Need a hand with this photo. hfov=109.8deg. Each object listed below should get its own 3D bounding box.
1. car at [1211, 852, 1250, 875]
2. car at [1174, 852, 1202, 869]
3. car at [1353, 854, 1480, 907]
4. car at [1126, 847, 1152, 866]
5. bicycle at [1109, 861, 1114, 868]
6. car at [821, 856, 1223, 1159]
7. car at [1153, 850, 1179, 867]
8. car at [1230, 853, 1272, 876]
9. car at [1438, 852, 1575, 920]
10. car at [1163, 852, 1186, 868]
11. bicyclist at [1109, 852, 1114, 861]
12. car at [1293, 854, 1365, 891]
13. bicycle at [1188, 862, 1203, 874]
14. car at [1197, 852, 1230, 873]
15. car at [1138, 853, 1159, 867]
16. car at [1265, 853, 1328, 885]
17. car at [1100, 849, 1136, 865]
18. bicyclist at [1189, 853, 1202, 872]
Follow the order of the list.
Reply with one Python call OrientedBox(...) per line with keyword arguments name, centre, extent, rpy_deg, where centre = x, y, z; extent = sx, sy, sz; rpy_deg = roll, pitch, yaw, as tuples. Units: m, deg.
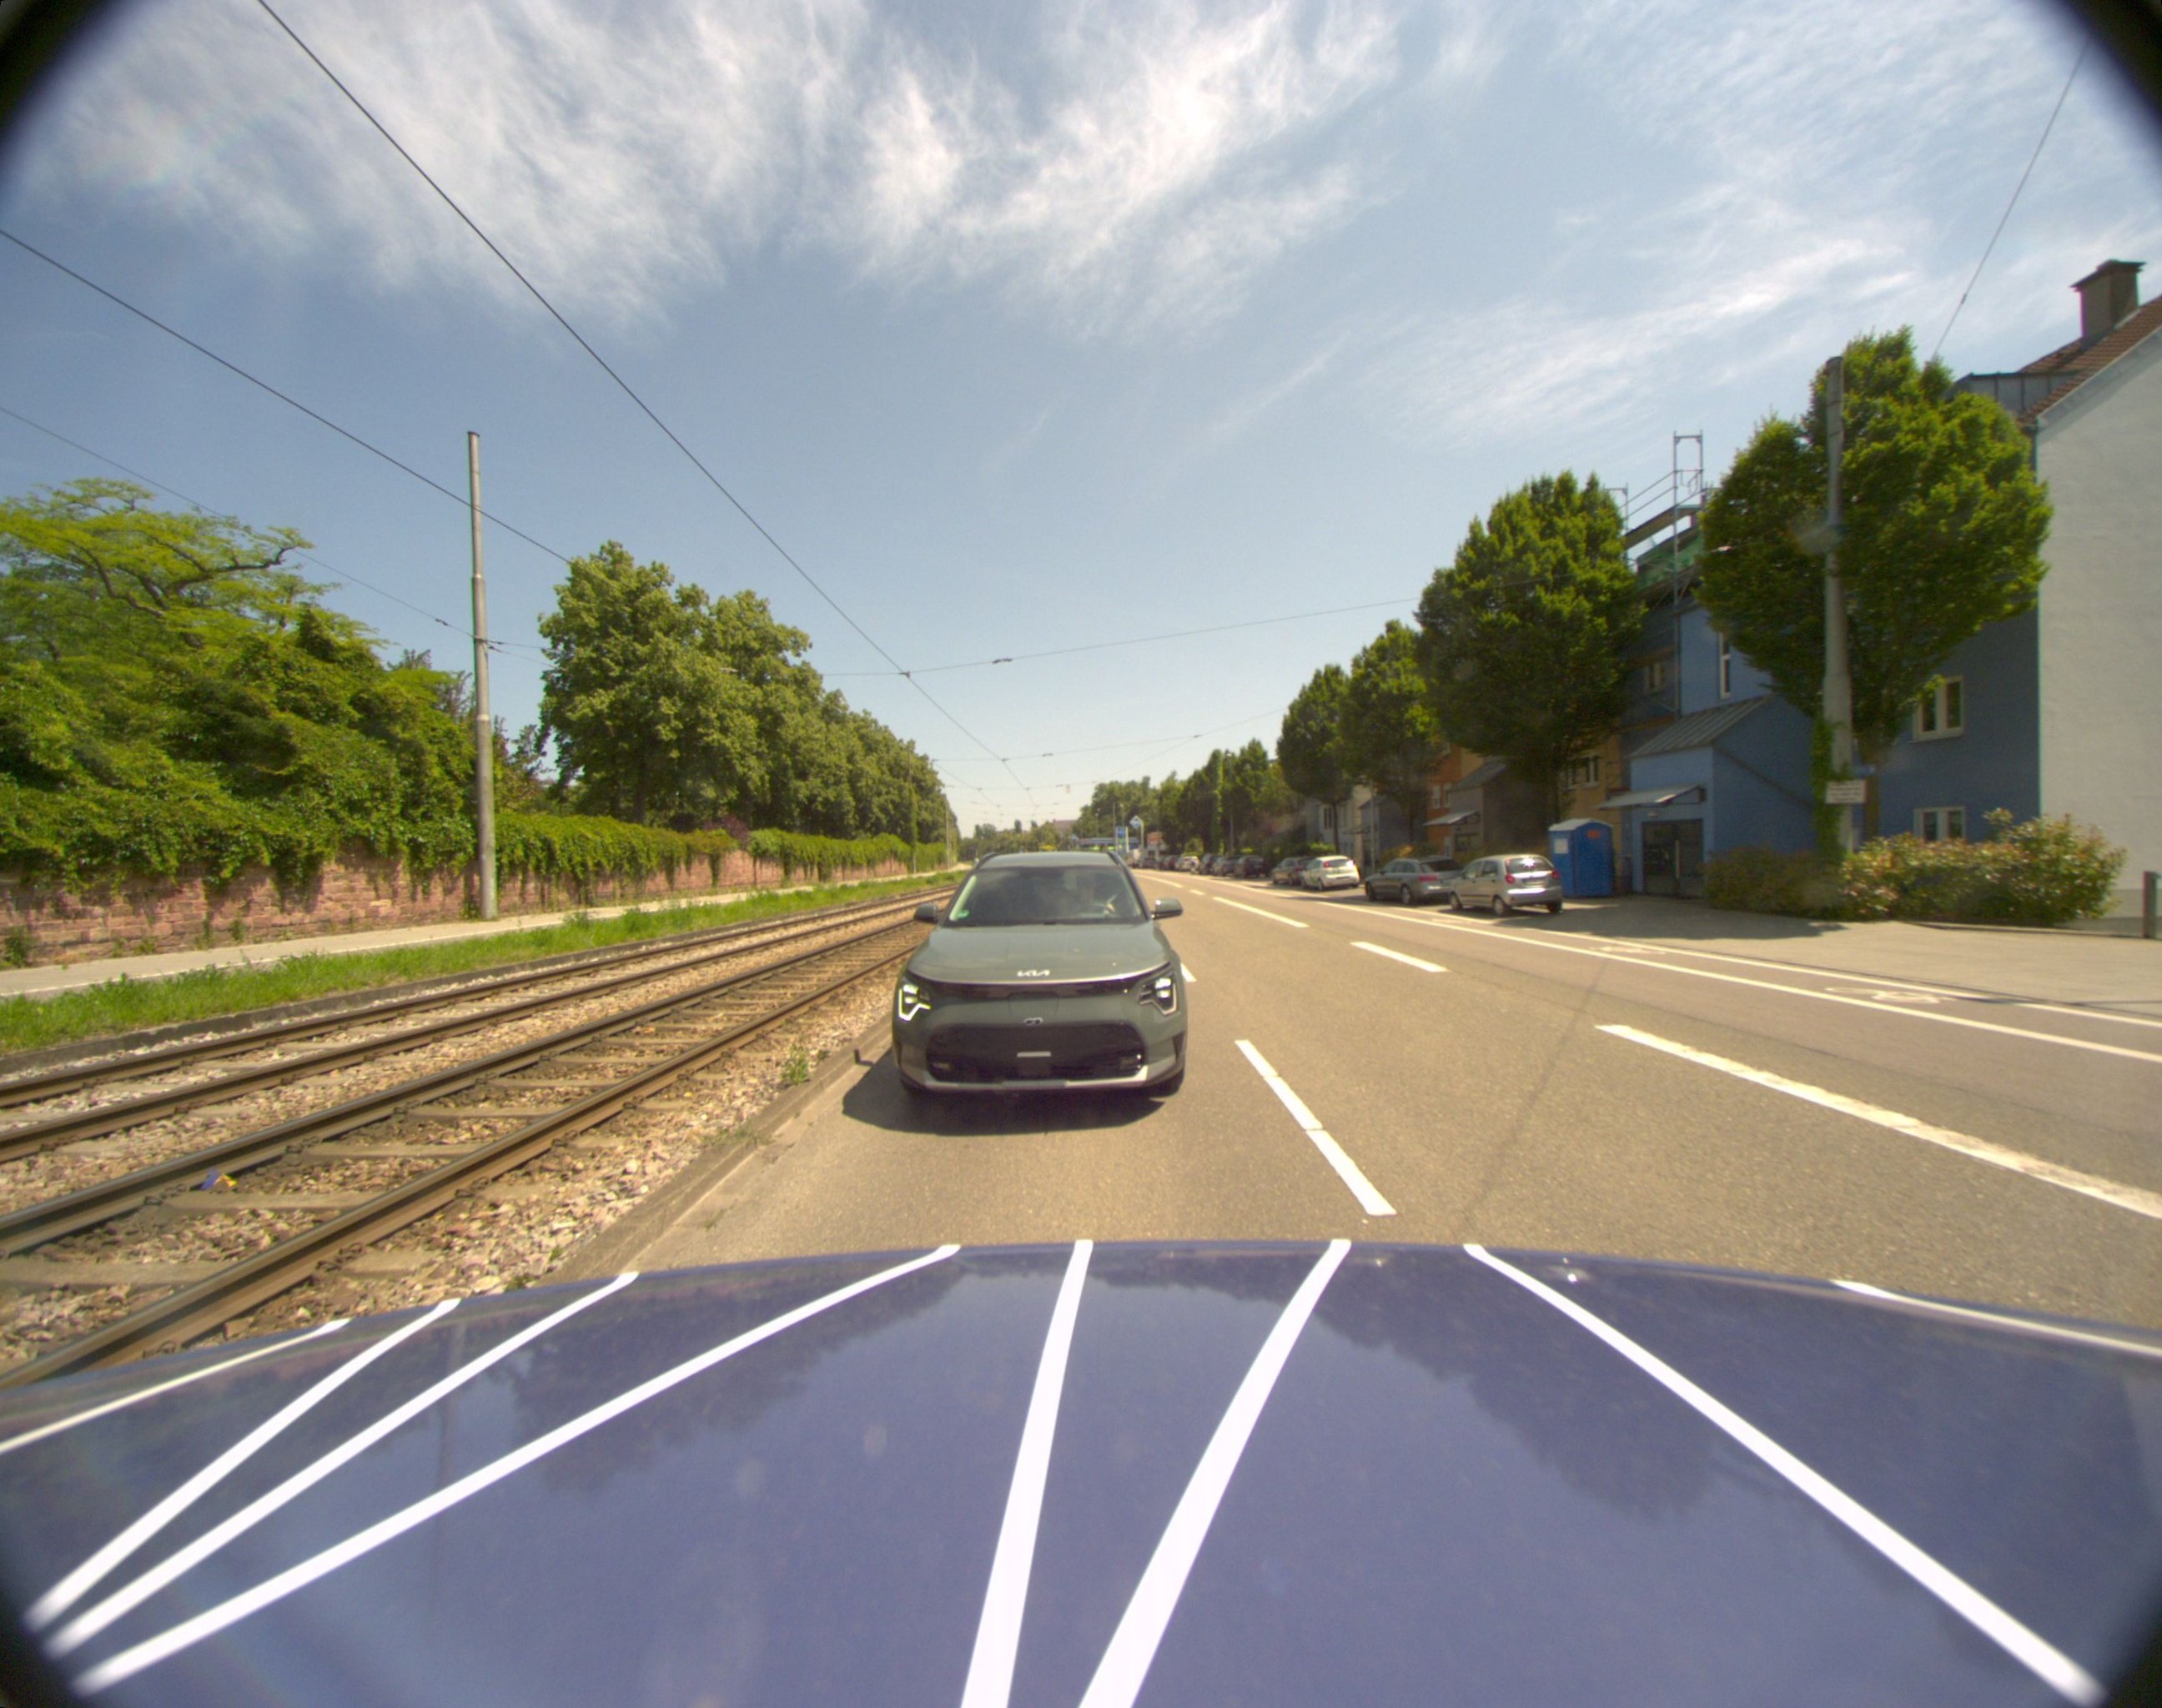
OrientedBox(name="car", centre=(11.173, 0.693, 56.968), extent=(1.830, 1.487, 4.756), rpy_deg=(-3, 0, -1))
OrientedBox(name="car", centre=(10.430, 0.629, 74.110), extent=(1.845, 1.573, 4.495), rpy_deg=(-3, 0, -2))
OrientedBox(name="car", centre=(10.966, 0.828, 25.309), extent=(1.791, 1.441, 5.133), rpy_deg=(-5, -1, 0))
OrientedBox(name="car", centre=(7.635, 0.341, 100.142), extent=(2.285, 2.294, 5.226), rpy_deg=(-3, 0, -8))
OrientedBox(name="bicycle", centre=(4.684, 1.596, 117.515), extent=(0.641, 1.089, 1.638), rpy_deg=(1, 1, 1))
OrientedBox(name="car", centre=(-0.211, 0.818, 5.968), extent=(2.062, 1.534, 4.001), rpy_deg=(-2, 0, 3))
OrientedBox(name="car", centre=(9.490, 0.486, 85.210), extent=(1.999, 1.783, 4.556), rpy_deg=(-2, 0, -5))
OrientedBox(name="car", centre=(11.503, 0.690, 51.679), extent=(1.754, 1.424, 4.257), rpy_deg=(-4, 0, 0))
OrientedBox(name="car", centre=(11.032, 0.770, 19.981), extent=(1.597, 1.487, 3.448), rpy_deg=(-6, 0, 1))
OrientedBox(name="car", centre=(9.820, 0.659, 80.002), extent=(1.604, 1.584, 3.680), rpy_deg=(-3, 0, -6))
OrientedBox(name="bicyclist", centre=(4.697, 0.386, 117.380), extent=(0.737, 1.496, 0.737), rpy_deg=(0, 1, 1))
OrientedBox(name="car", centre=(11.379, 0.810, 35.170), extent=(1.750, 1.434, 4.420), rpy_deg=(-6, 0, 0))
OrientedBox(name="bicycle", centre=(8.926, 1.069, 59.225), extent=(0.703, 0.945, 2.243), rpy_deg=(1, -1, -2))
OrientedBox(name="car", centre=(10.913, 0.661, 62.789), extent=(1.772, 1.579, 4.147), rpy_deg=(-3, 0, -3))
OrientedBox(name="car", centre=(8.371, 0.728, 94.220), extent=(1.870, 1.528, 4.142), rpy_deg=(-3, 0, -4))
OrientedBox(name="car", centre=(11.400, 0.756, 40.584), extent=(1.708, 1.421, 4.750), rpy_deg=(-6, 0, -3))
OrientedBox(name="car", centre=(5.902, 0.524, 121.410), extent=(5.219, 2.294, 2.288), rpy_deg=(-3, 0, 16))
OrientedBox(name="bicyclist", centre=(8.942, 0.636, 59.289), extent=(0.737, 1.422, 1.124), rpy_deg=(2, 1, -2))
